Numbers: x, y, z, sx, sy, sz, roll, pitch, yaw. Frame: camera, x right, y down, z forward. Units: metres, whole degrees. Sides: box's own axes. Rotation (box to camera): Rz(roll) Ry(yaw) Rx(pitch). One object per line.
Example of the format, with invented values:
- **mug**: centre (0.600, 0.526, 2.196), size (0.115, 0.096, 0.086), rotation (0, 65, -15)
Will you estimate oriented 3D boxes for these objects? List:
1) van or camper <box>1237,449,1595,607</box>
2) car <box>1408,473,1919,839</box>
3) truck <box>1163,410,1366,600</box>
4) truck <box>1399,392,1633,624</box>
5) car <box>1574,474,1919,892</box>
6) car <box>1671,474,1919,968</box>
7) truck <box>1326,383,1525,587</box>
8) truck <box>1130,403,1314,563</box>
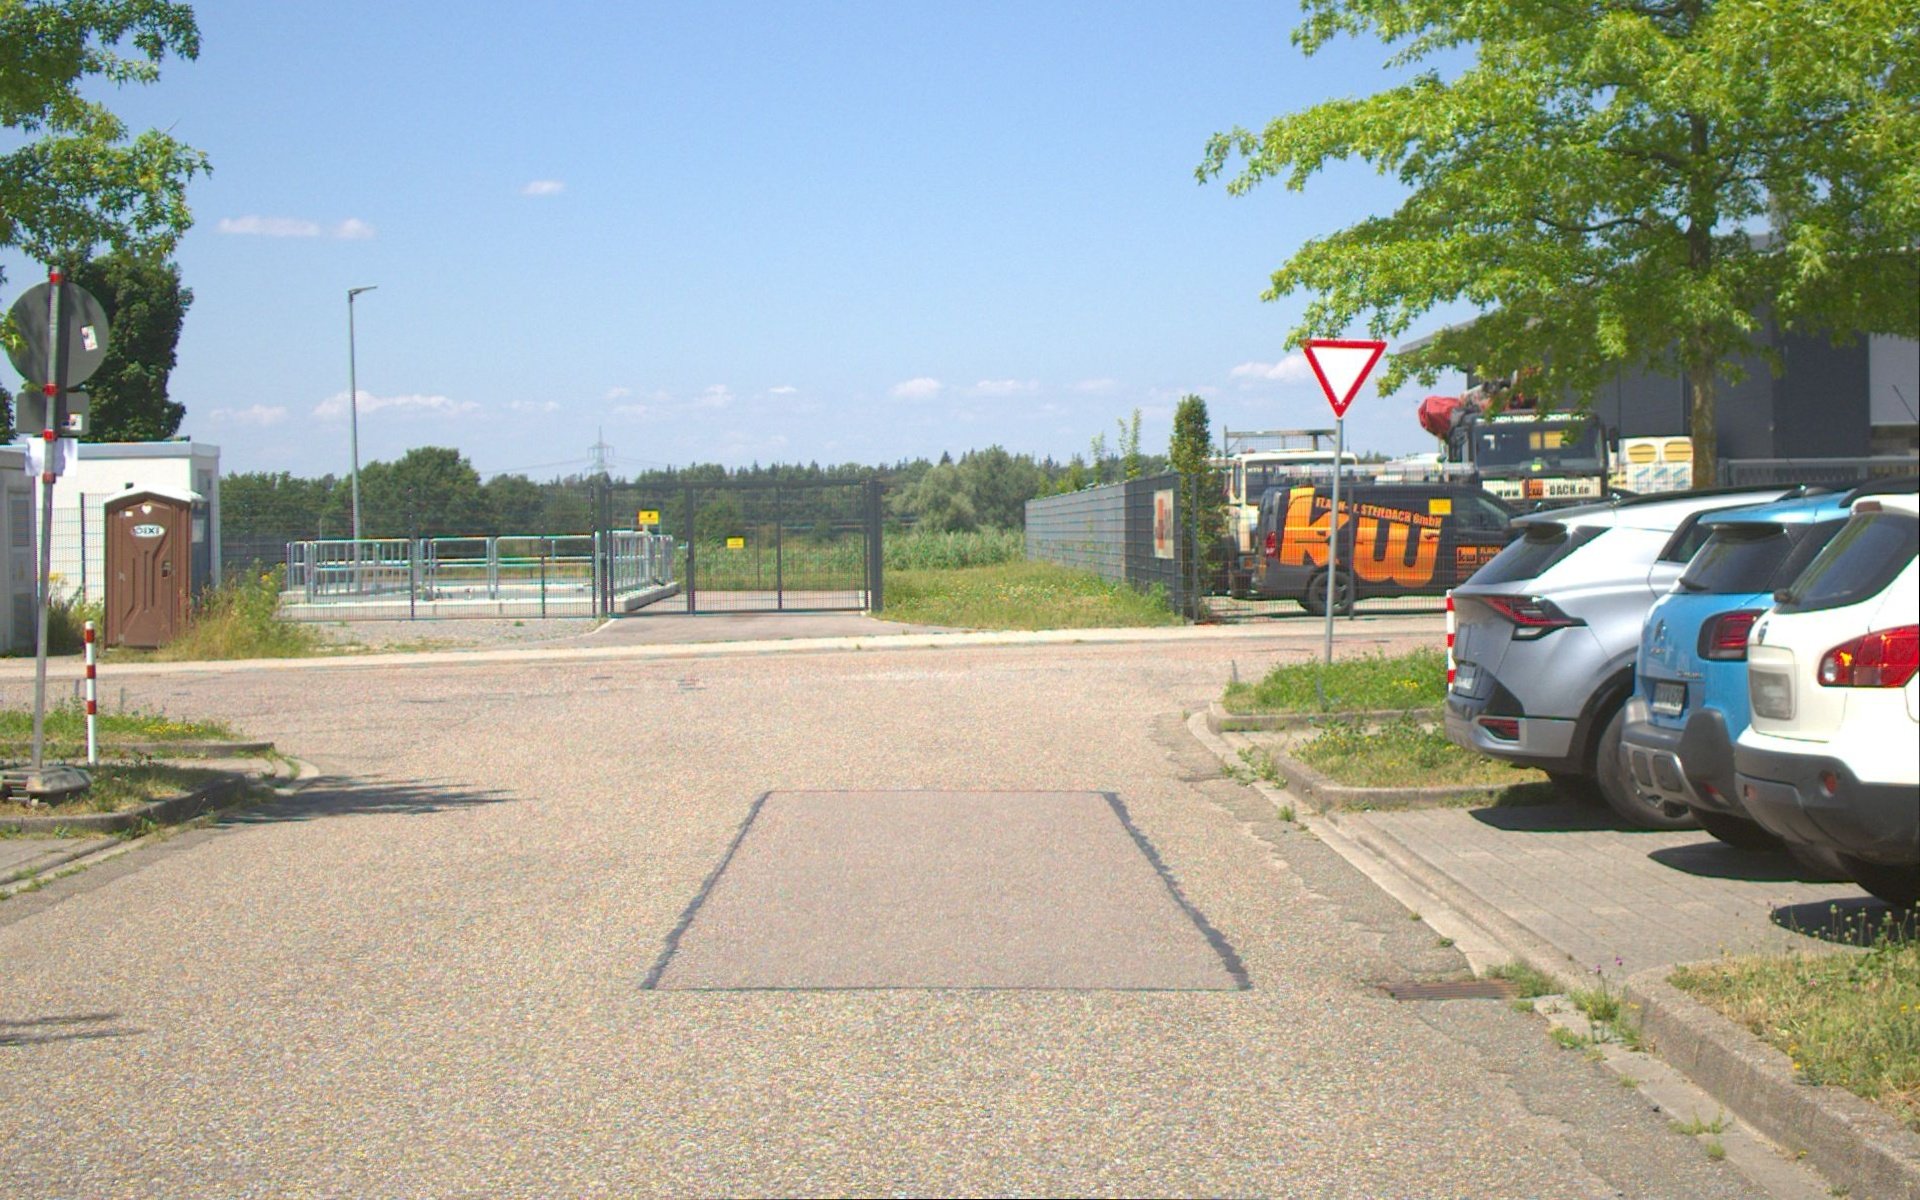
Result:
- **van or camper**: centre (6.648, -1.080, 50.498), size (4.936, 2.156, 2.000), rotation (-1, 2, -1)
- **car**: centre (4.534, 0.199, 17.187), size (4.279, 1.638, 1.851), rotation (-2, 1, 0)
- **truck**: centre (5.197, -1.651, 59.829), size (2.726, 3.051, 6.937), rotation (-1, 2, -1)
- **truck**: centre (10.004, -1.681, 62.539), size (2.921, 3.915, 6.937), rotation (-1, 2, -1)
- **car**: centre (4.821, 0.260, 14.708), size (3.987, 1.638, 1.838), rotation (-2, 1, -1)
- **car**: centre (4.772, 0.310, 12.180), size (4.068, 1.602, 1.901), rotation (-2, 1, 1)
- **truck**: centre (9.448, -2.338, 70.518), size (2.921, 3.915, 6.937), rotation (-1, 2, -1)
- **truck**: centre (5.104, -2.293, 68.120), size (2.921, 2.927, 6.937), rotation (-1, 2, -1)
